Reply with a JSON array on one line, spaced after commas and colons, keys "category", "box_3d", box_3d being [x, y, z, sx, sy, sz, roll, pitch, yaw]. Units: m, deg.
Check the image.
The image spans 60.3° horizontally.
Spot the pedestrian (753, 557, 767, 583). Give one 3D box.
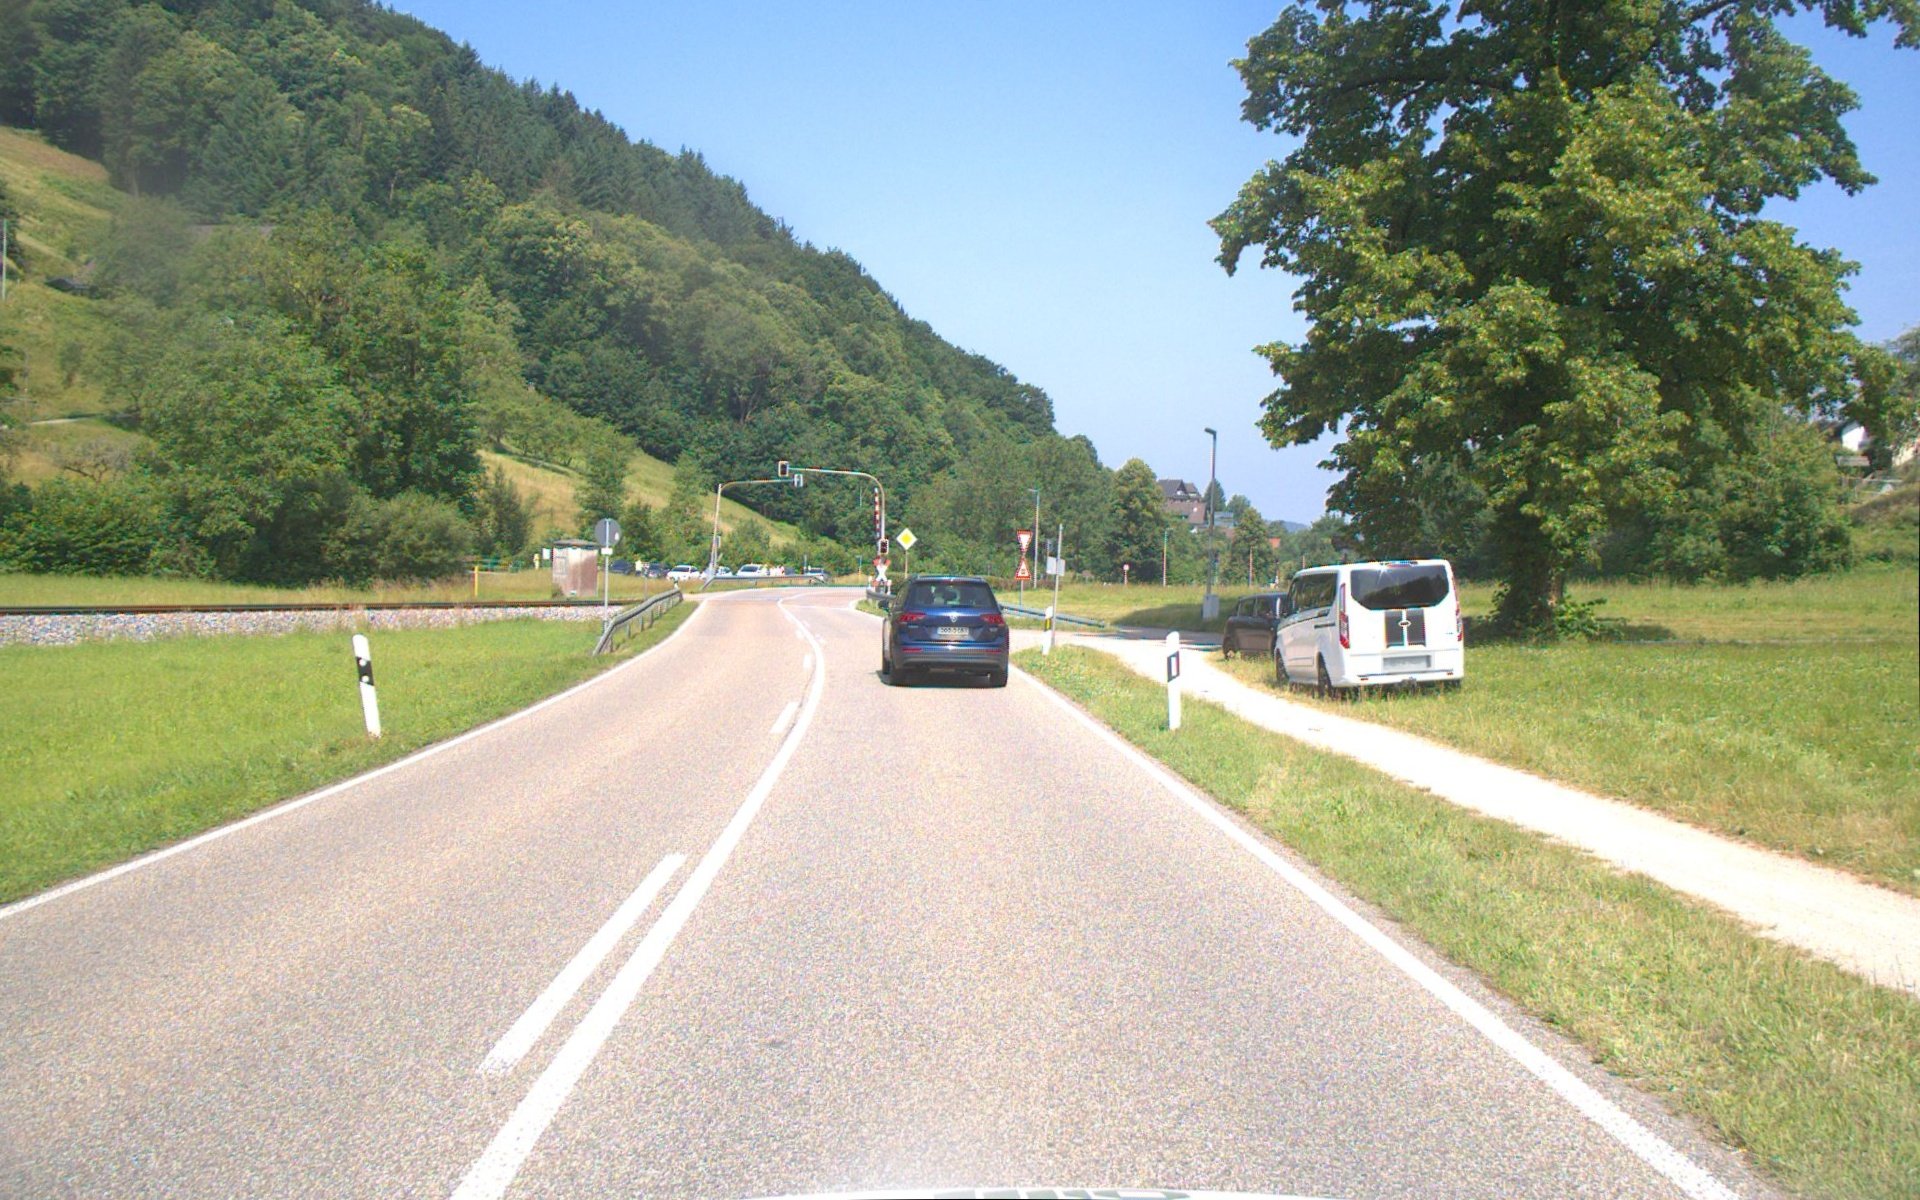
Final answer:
[{"category": "pedestrian", "box_3d": [-14.666, -2.179, 121.236, 0.771, 1.874, 0.699, 1, 0, 19]}]

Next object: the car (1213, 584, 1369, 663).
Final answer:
[{"category": "car", "box_3d": [6.712, 0.472, 33.906, 1.646, 1.482, 3.700, -1, 0, -16]}]

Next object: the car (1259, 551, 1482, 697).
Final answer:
[{"category": "car", "box_3d": [6.100, 0.296, 25.202, 1.959, 1.880, 4.867, -4, 1, -2]}]

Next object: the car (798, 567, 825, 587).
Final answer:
[{"category": "car", "box_3d": [-11.414, -1.752, 127.138, 1.789, 1.527, 4.276, 1, 1, -1]}]

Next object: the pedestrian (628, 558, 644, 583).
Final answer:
[{"category": "pedestrian", "box_3d": [-24.137, -2.213, 123.198, 0.934, 1.826, 1.000, 0, 1, 4]}]

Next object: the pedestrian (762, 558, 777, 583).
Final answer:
[{"category": "pedestrian", "box_3d": [-14.082, -2.150, 122.340, 0.755, 1.827, 0.791, 1, 0, 35]}]

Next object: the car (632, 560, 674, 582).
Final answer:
[{"category": "car", "box_3d": [-24.023, -2.256, 129.679, 1.951, 1.526, 4.525, 3, 1, 6]}]

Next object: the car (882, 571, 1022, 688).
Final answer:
[{"category": "car", "box_3d": [-0.208, 0.408, 25.904, 1.817, 1.678, 4.135, 1, 1, -5]}]

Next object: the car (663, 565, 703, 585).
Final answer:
[{"category": "car", "box_3d": [-21.616, -1.966, 129.130, 1.951, 1.527, 4.525, 1, 1, 6]}]

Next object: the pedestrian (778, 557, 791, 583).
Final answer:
[{"category": "pedestrian", "box_3d": [-12.998, -2.218, 122.461, 0.637, 1.891, 0.766, 1, 0, 42]}]

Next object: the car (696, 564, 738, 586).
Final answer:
[{"category": "car", "box_3d": [-18.963, -1.946, 129.225, 1.951, 1.670, 4.906, 1, 1, 8]}]

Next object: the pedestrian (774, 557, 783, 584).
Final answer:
[{"category": "pedestrian", "box_3d": [-13.389, -2.207, 121.930, 0.647, 1.989, 0.533, 0, 1, -2]}]

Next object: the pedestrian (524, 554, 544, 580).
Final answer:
[{"category": "pedestrian", "box_3d": [-32.236, -2.508, 125.167, 1.103, 2.004, 0.861, 1, 0, 24]}]

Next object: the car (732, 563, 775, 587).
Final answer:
[{"category": "car", "box_3d": [-16.128, -1.959, 129.461, 1.831, 1.813, 4.776, 2, 1, 11]}]
